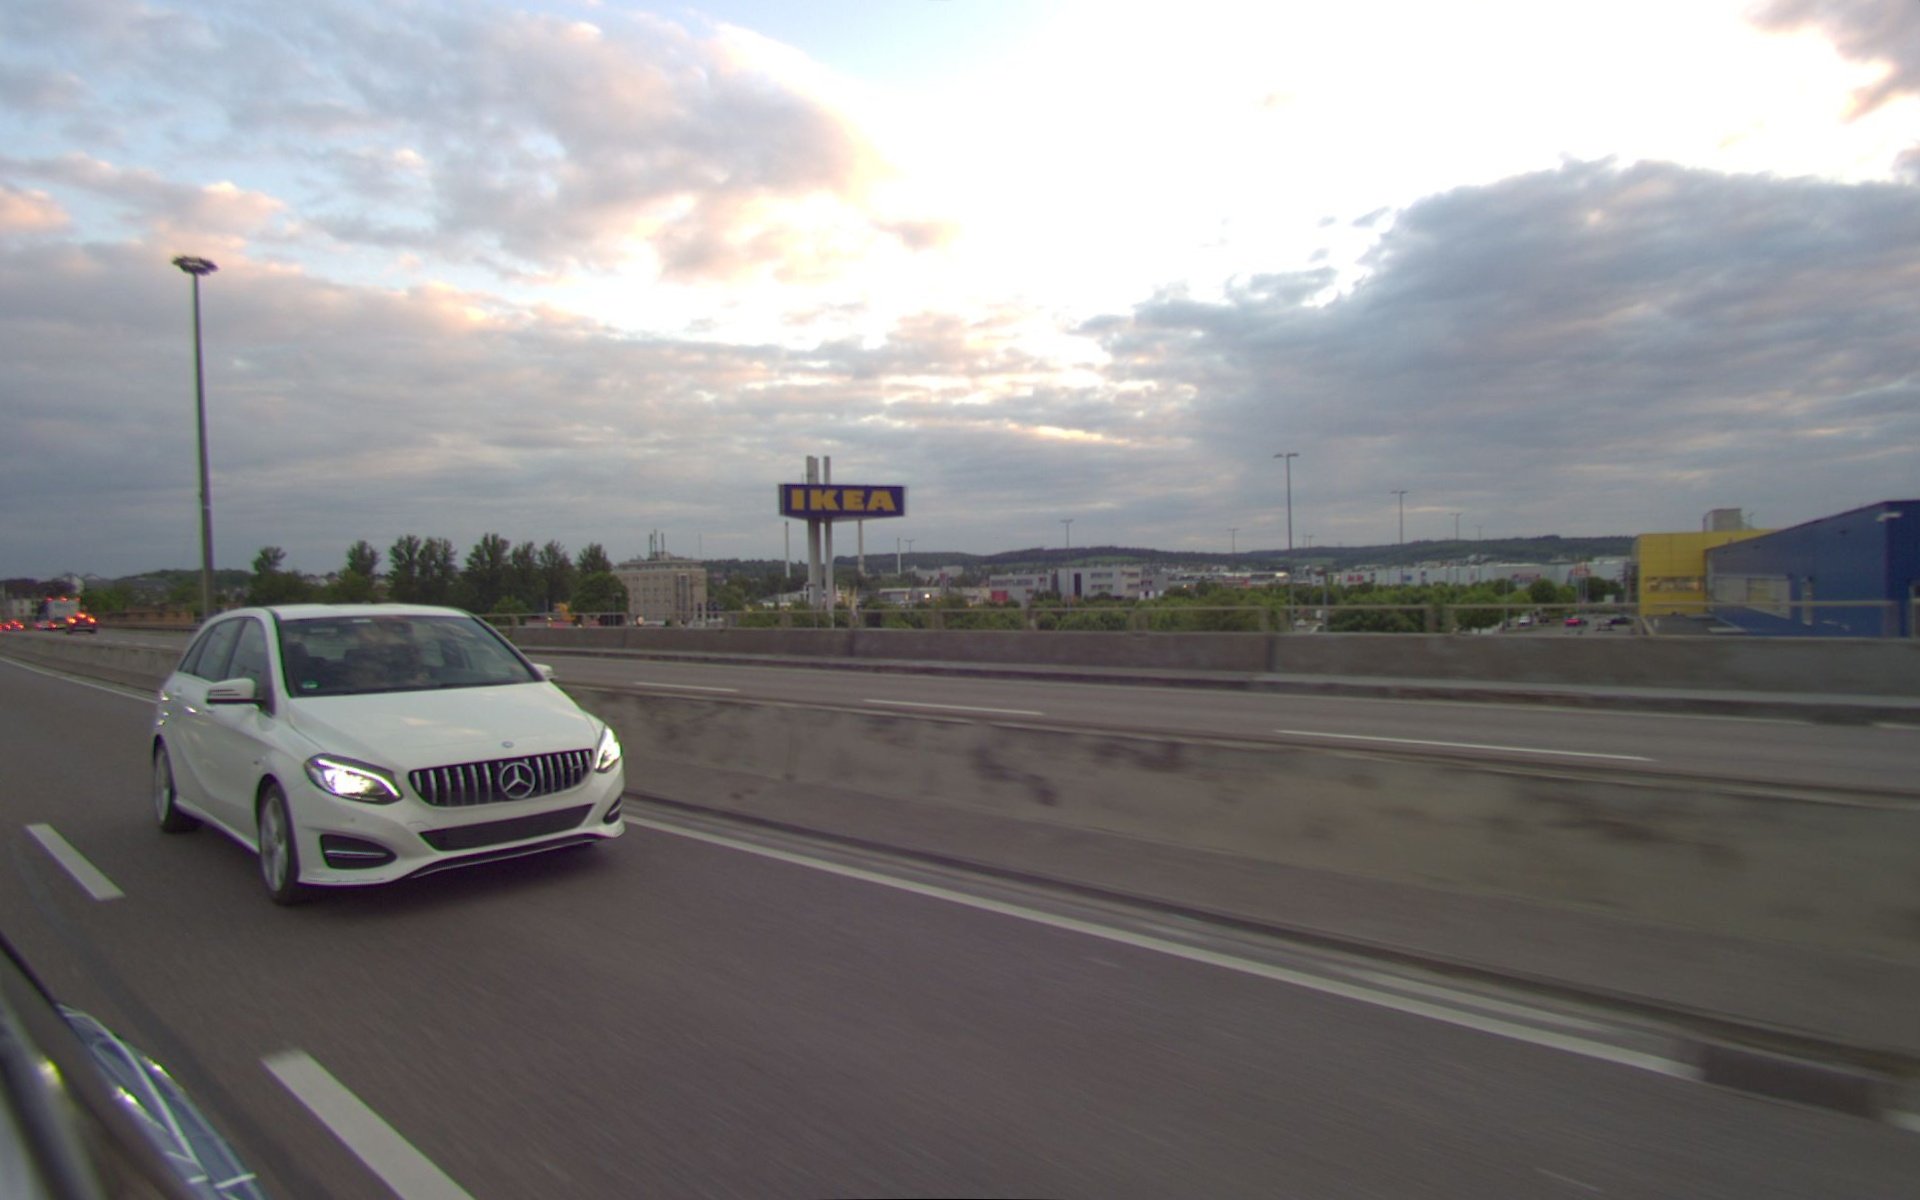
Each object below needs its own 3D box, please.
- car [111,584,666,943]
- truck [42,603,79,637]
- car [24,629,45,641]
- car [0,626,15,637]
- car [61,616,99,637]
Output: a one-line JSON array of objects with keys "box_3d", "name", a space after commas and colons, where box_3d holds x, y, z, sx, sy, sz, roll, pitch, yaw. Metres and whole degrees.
[{"box_3d": [-3.990, 0.774, 6.597, 4.781, 1.548, 1.673, -3, -1, 42], "name": "car"}, {"box_3d": [-89.847, 1.976, 101.059, 2.505, 3.321, 7.452, -1, 0, -44], "name": "truck"}, {"box_3d": [-124.540, 4.697, 136.174, 1.810, 1.514, 4.819, 0, -1, -45], "name": "car"}, {"box_3d": [-130.762, 4.328, 138.739, 3.836, 1.452, 1.611, -2, -1, 44], "name": "car"}, {"box_3d": [-70.865, 2.099, 81.475, 4.443, 1.618, 1.954, -1, 0, 45], "name": "car"}]
